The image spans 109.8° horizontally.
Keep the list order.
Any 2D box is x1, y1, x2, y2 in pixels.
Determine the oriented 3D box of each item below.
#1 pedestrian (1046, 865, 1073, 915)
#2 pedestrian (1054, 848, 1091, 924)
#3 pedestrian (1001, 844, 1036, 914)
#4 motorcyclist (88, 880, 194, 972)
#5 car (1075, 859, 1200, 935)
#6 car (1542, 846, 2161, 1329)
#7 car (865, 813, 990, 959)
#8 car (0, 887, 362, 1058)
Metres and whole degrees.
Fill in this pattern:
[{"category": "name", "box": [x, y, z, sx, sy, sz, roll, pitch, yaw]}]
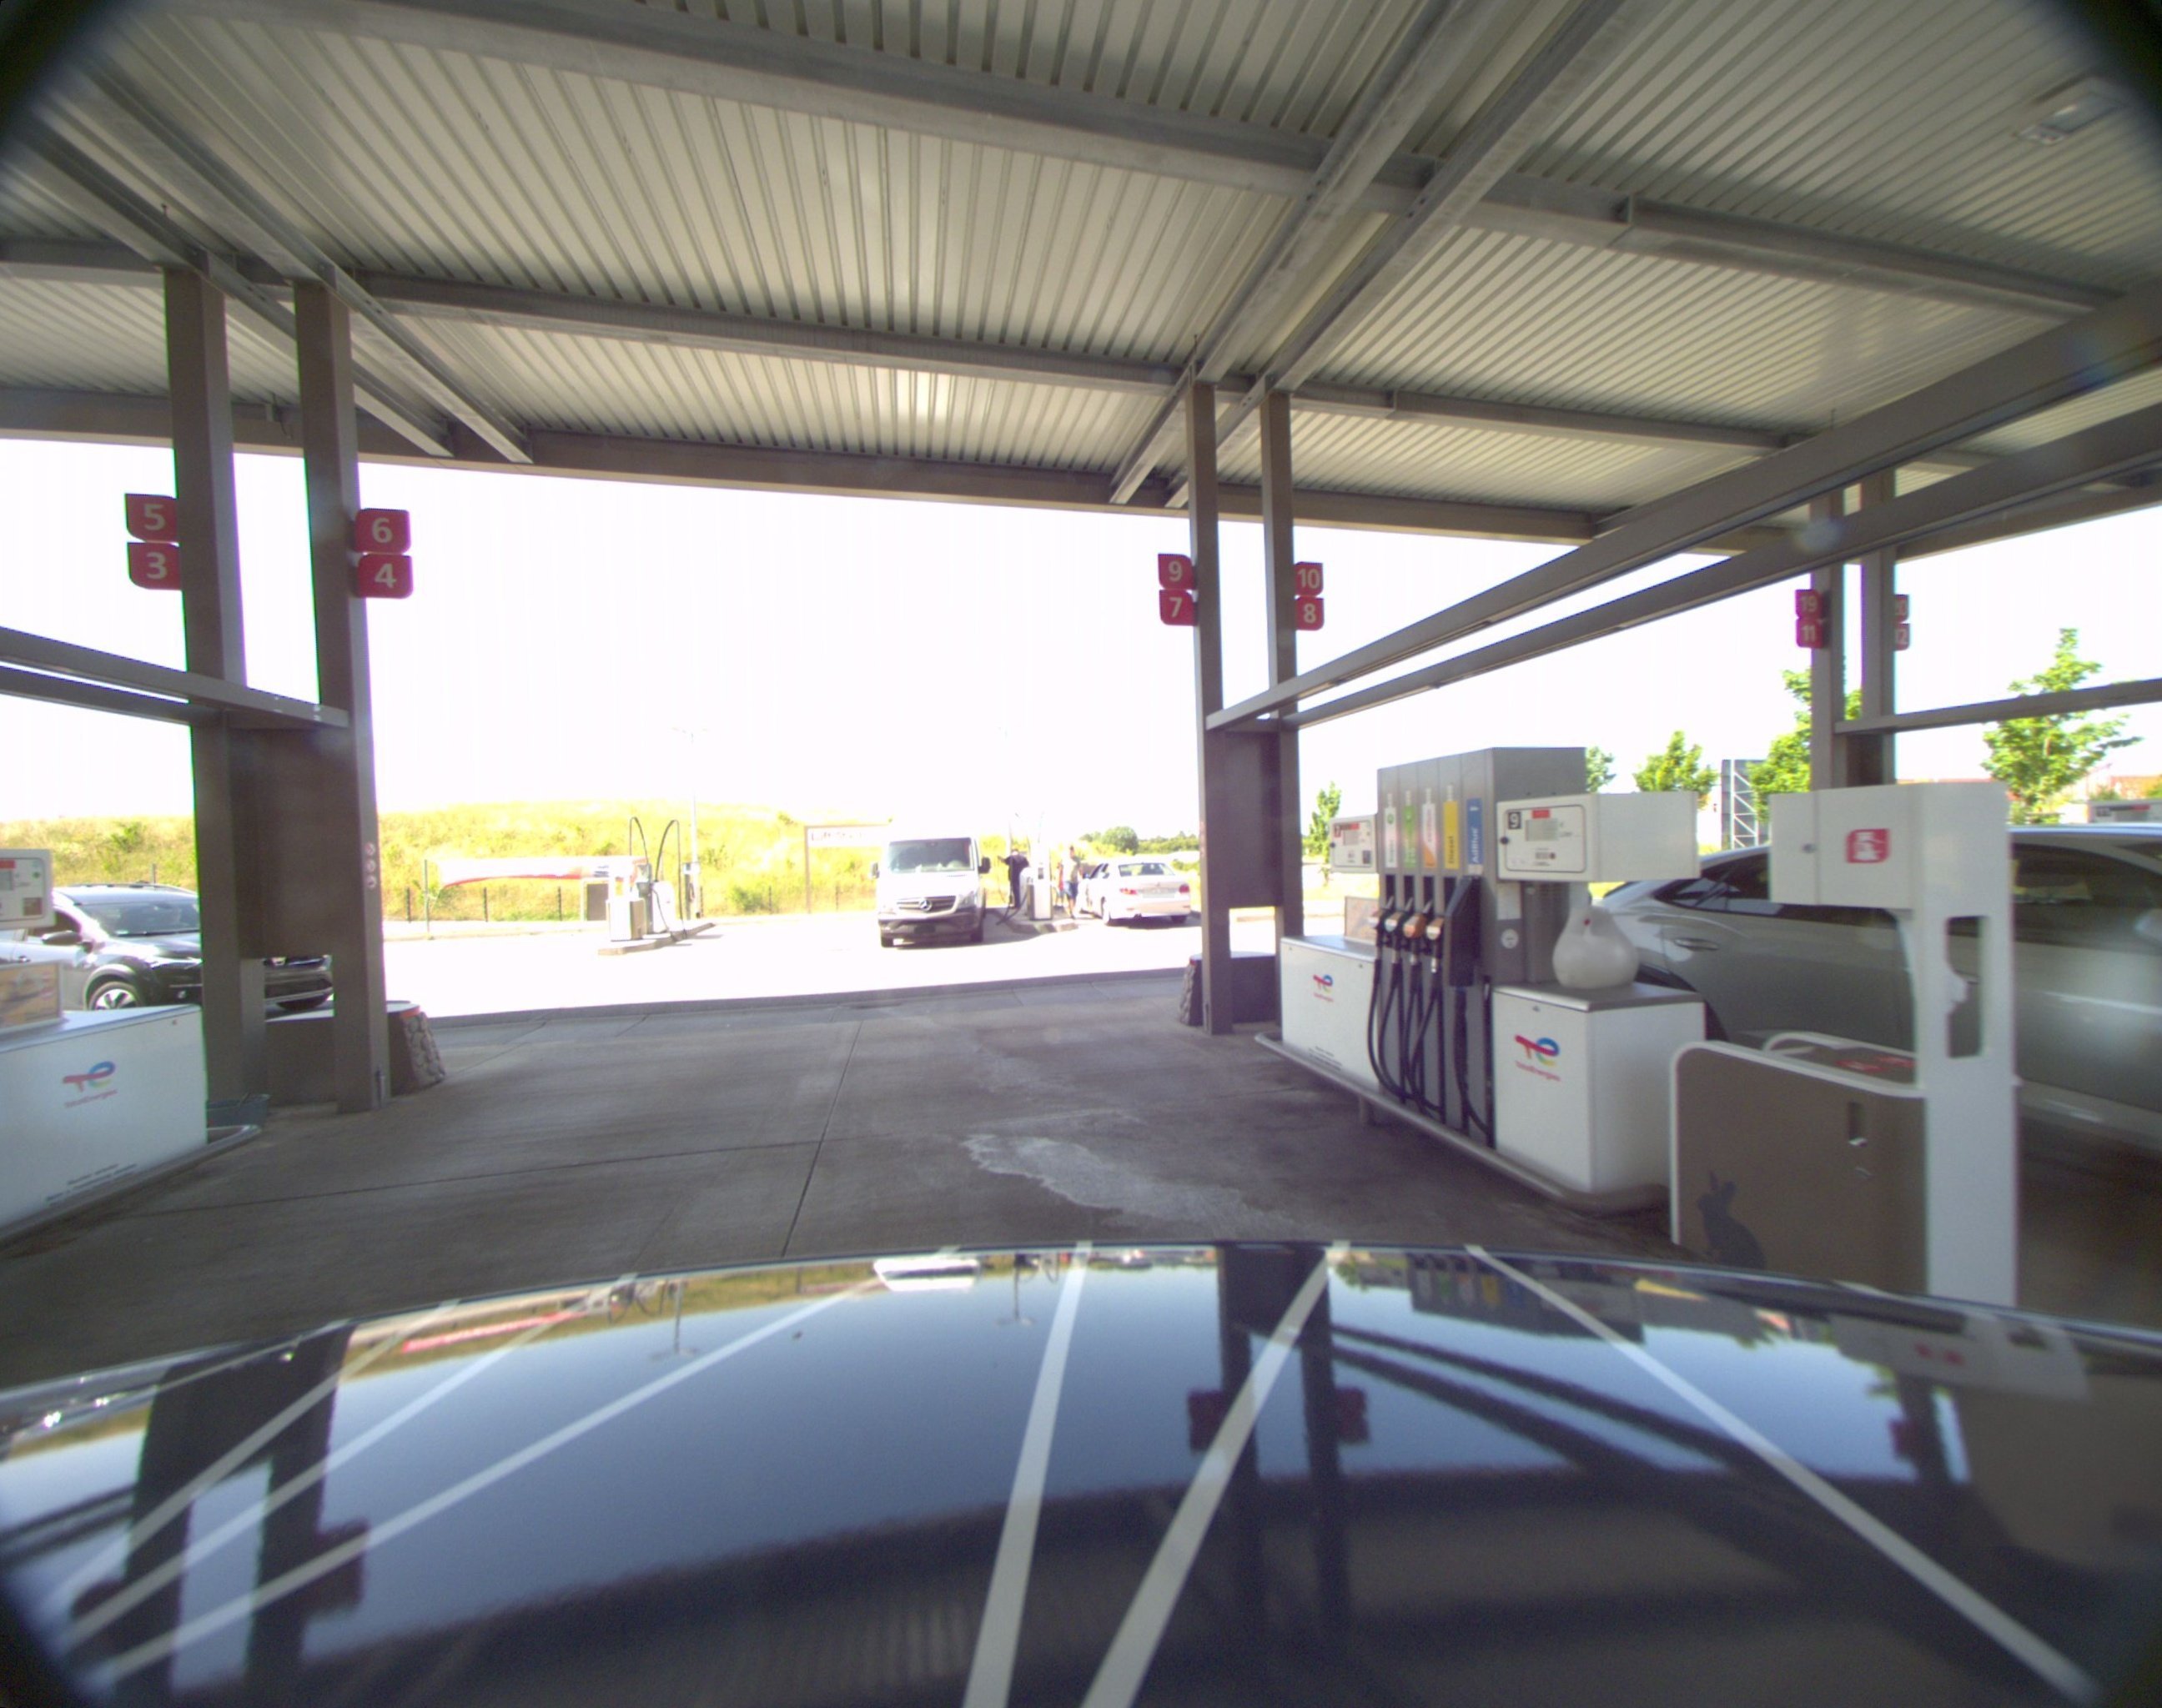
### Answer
[{"category": "pedestrian", "box": [-0.578, 0.949, 20.271, 0.578, 1.299, 0.668, -2, 0, -10]}, {"category": "pedestrian", "box": [-0.218, 0.751, 18.042, 0.709, 1.739, 0.844, -2, 0, -10]}, {"category": "pedestrian", "box": [-1.627, 0.628, 19.811, 0.709, 1.759, 0.844, -2, 0, -15]}, {"category": "motorcyclist", "box": [-18.613, 1.388, 15.090, 1.036, 1.678, 1.096, -2, 1, -37]}, {"category": "car", "box": [1.167, 0.902, 17.830, 1.793, 1.420, 4.317, -2, 1, -11]}, {"category": "car", "box": [4.303, 0.755, 2.968, 1.786, 1.532, 4.321, -2, 0, -12]}, {"category": "car", "box": [-3.138, 0.455, 17.050, 1.999, 2.557, 7.024, -1, 2, -6]}, {"category": "car", "box": [-11.275, 1.289, 8.882, 4.624, 1.635, 1.745, -2, 0, 11]}]
